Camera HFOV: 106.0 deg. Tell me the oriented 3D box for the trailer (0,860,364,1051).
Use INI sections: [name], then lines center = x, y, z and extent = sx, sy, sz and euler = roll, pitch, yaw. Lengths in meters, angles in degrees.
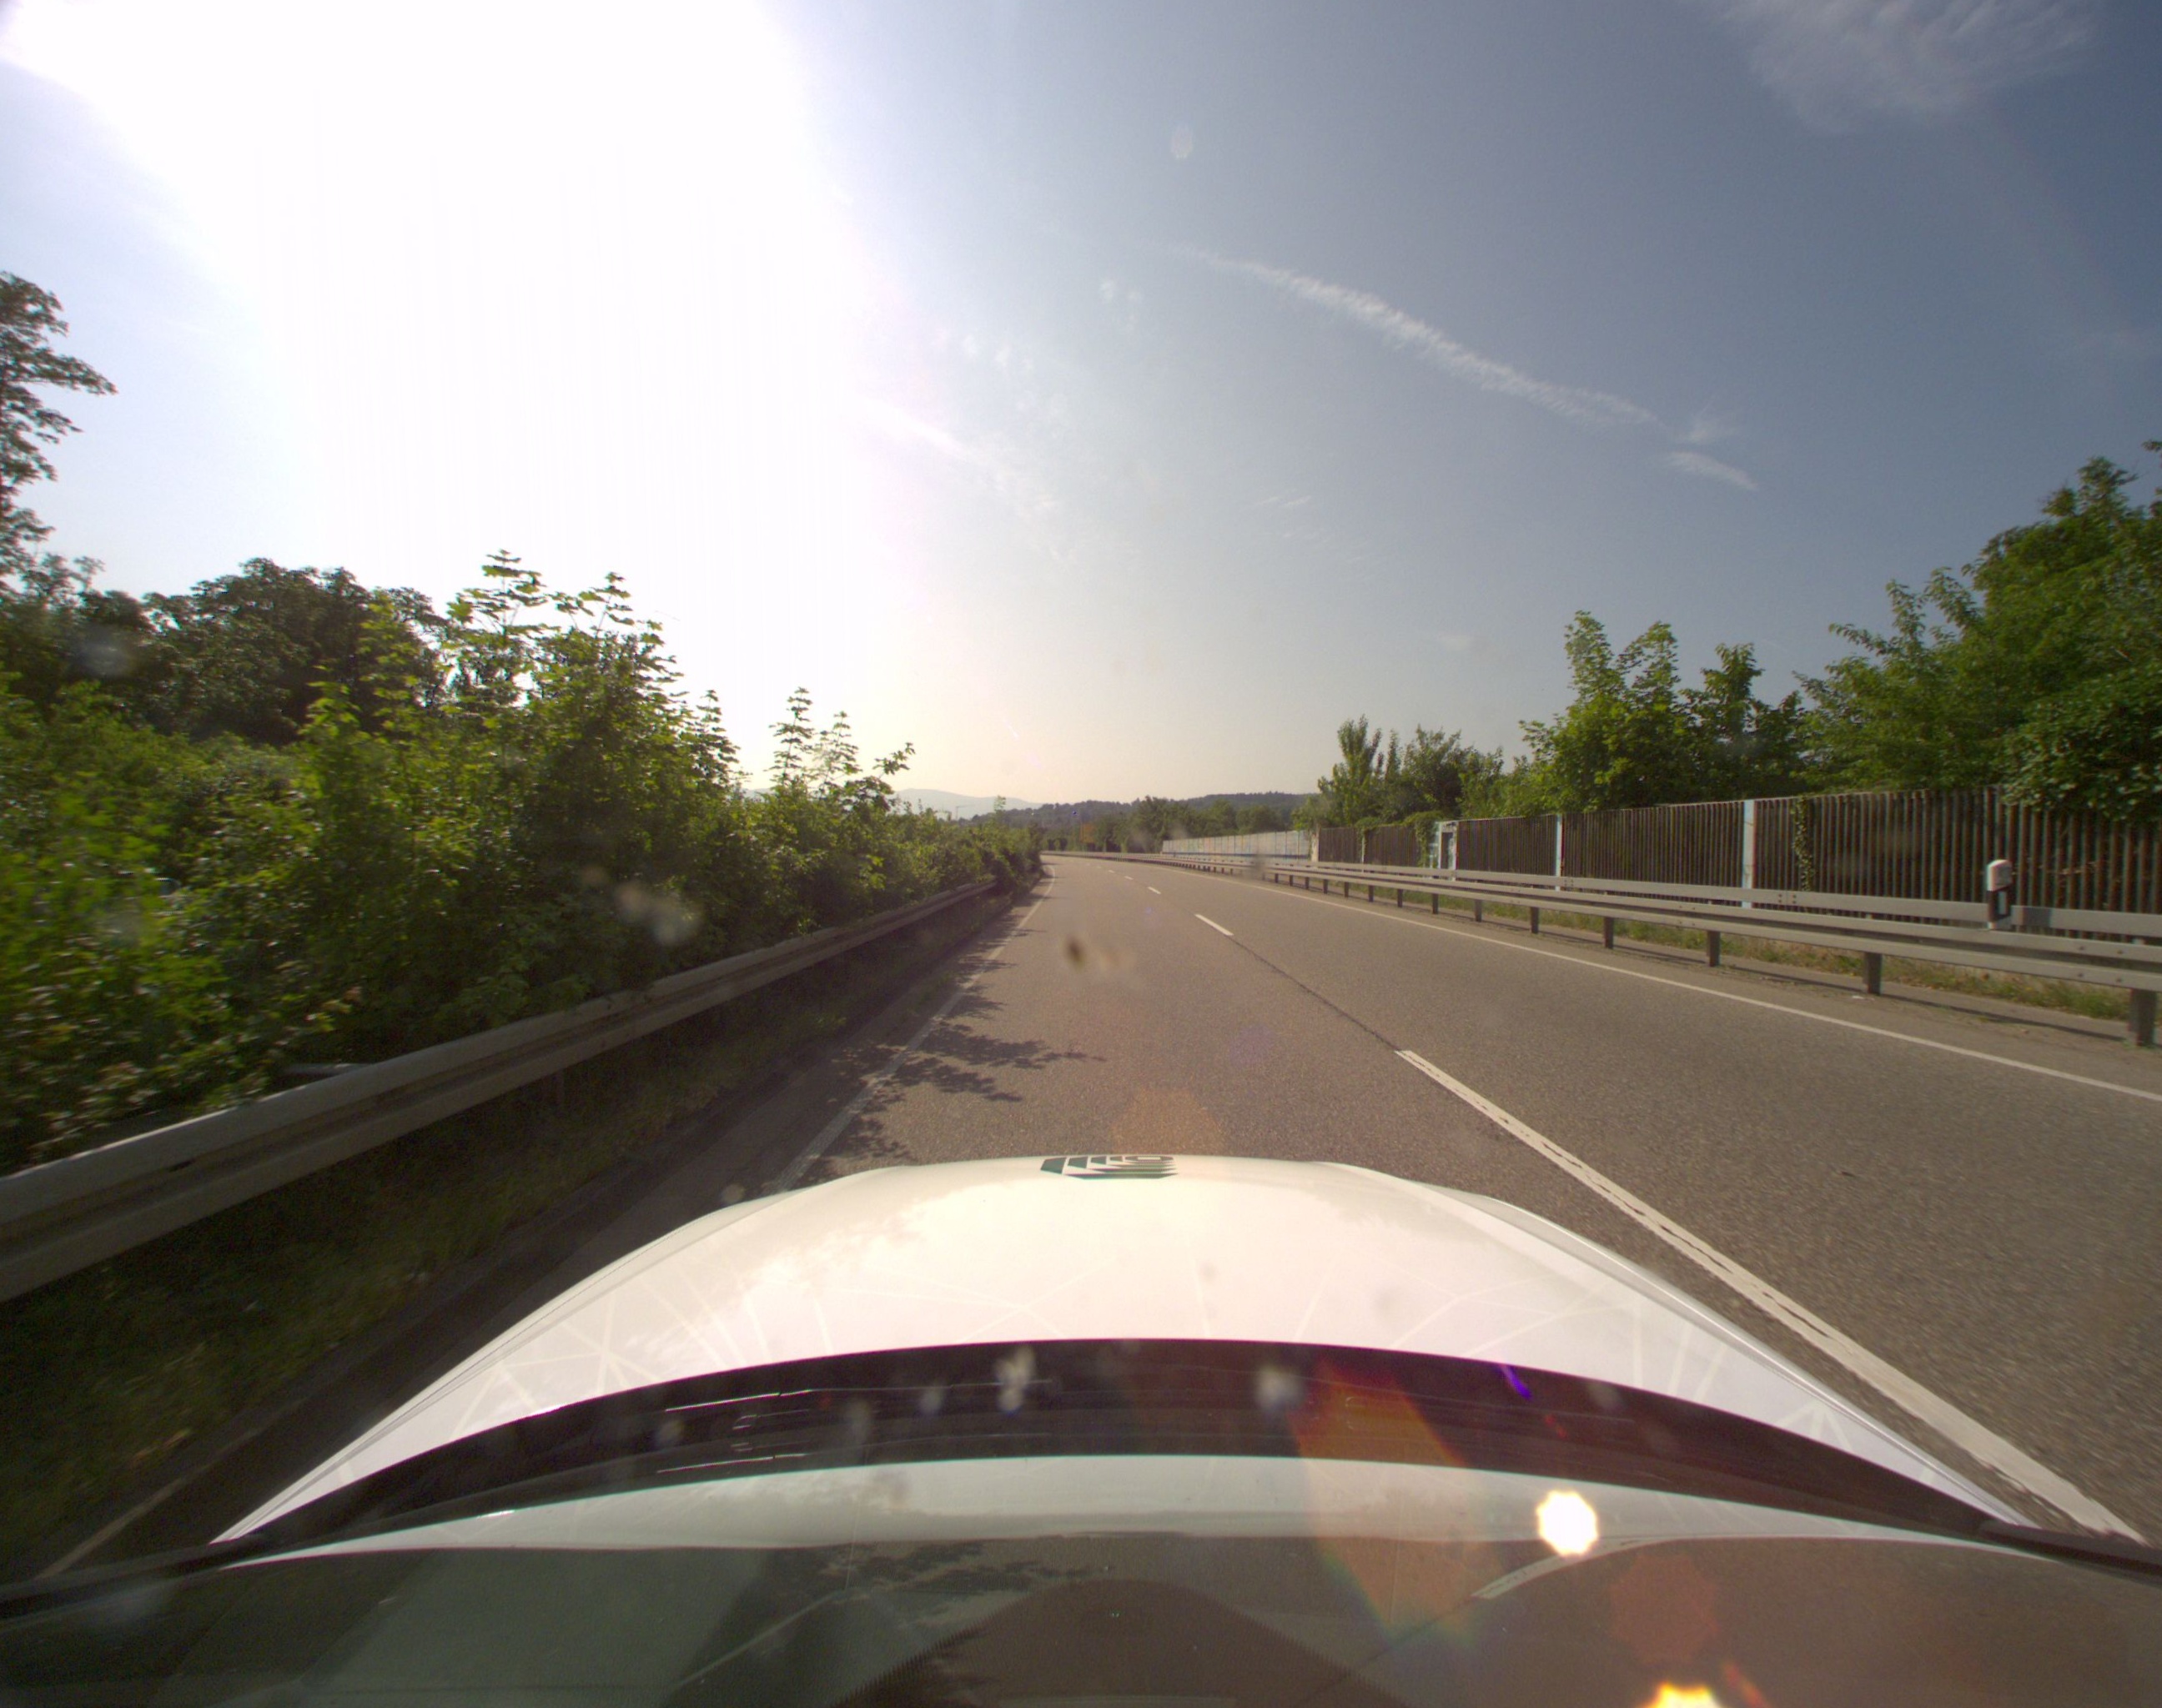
[trailer]
center = -10.115, 0.895, 8.038
extent = 1.712, 1.578, 4.814
euler = 0, 0, 2
